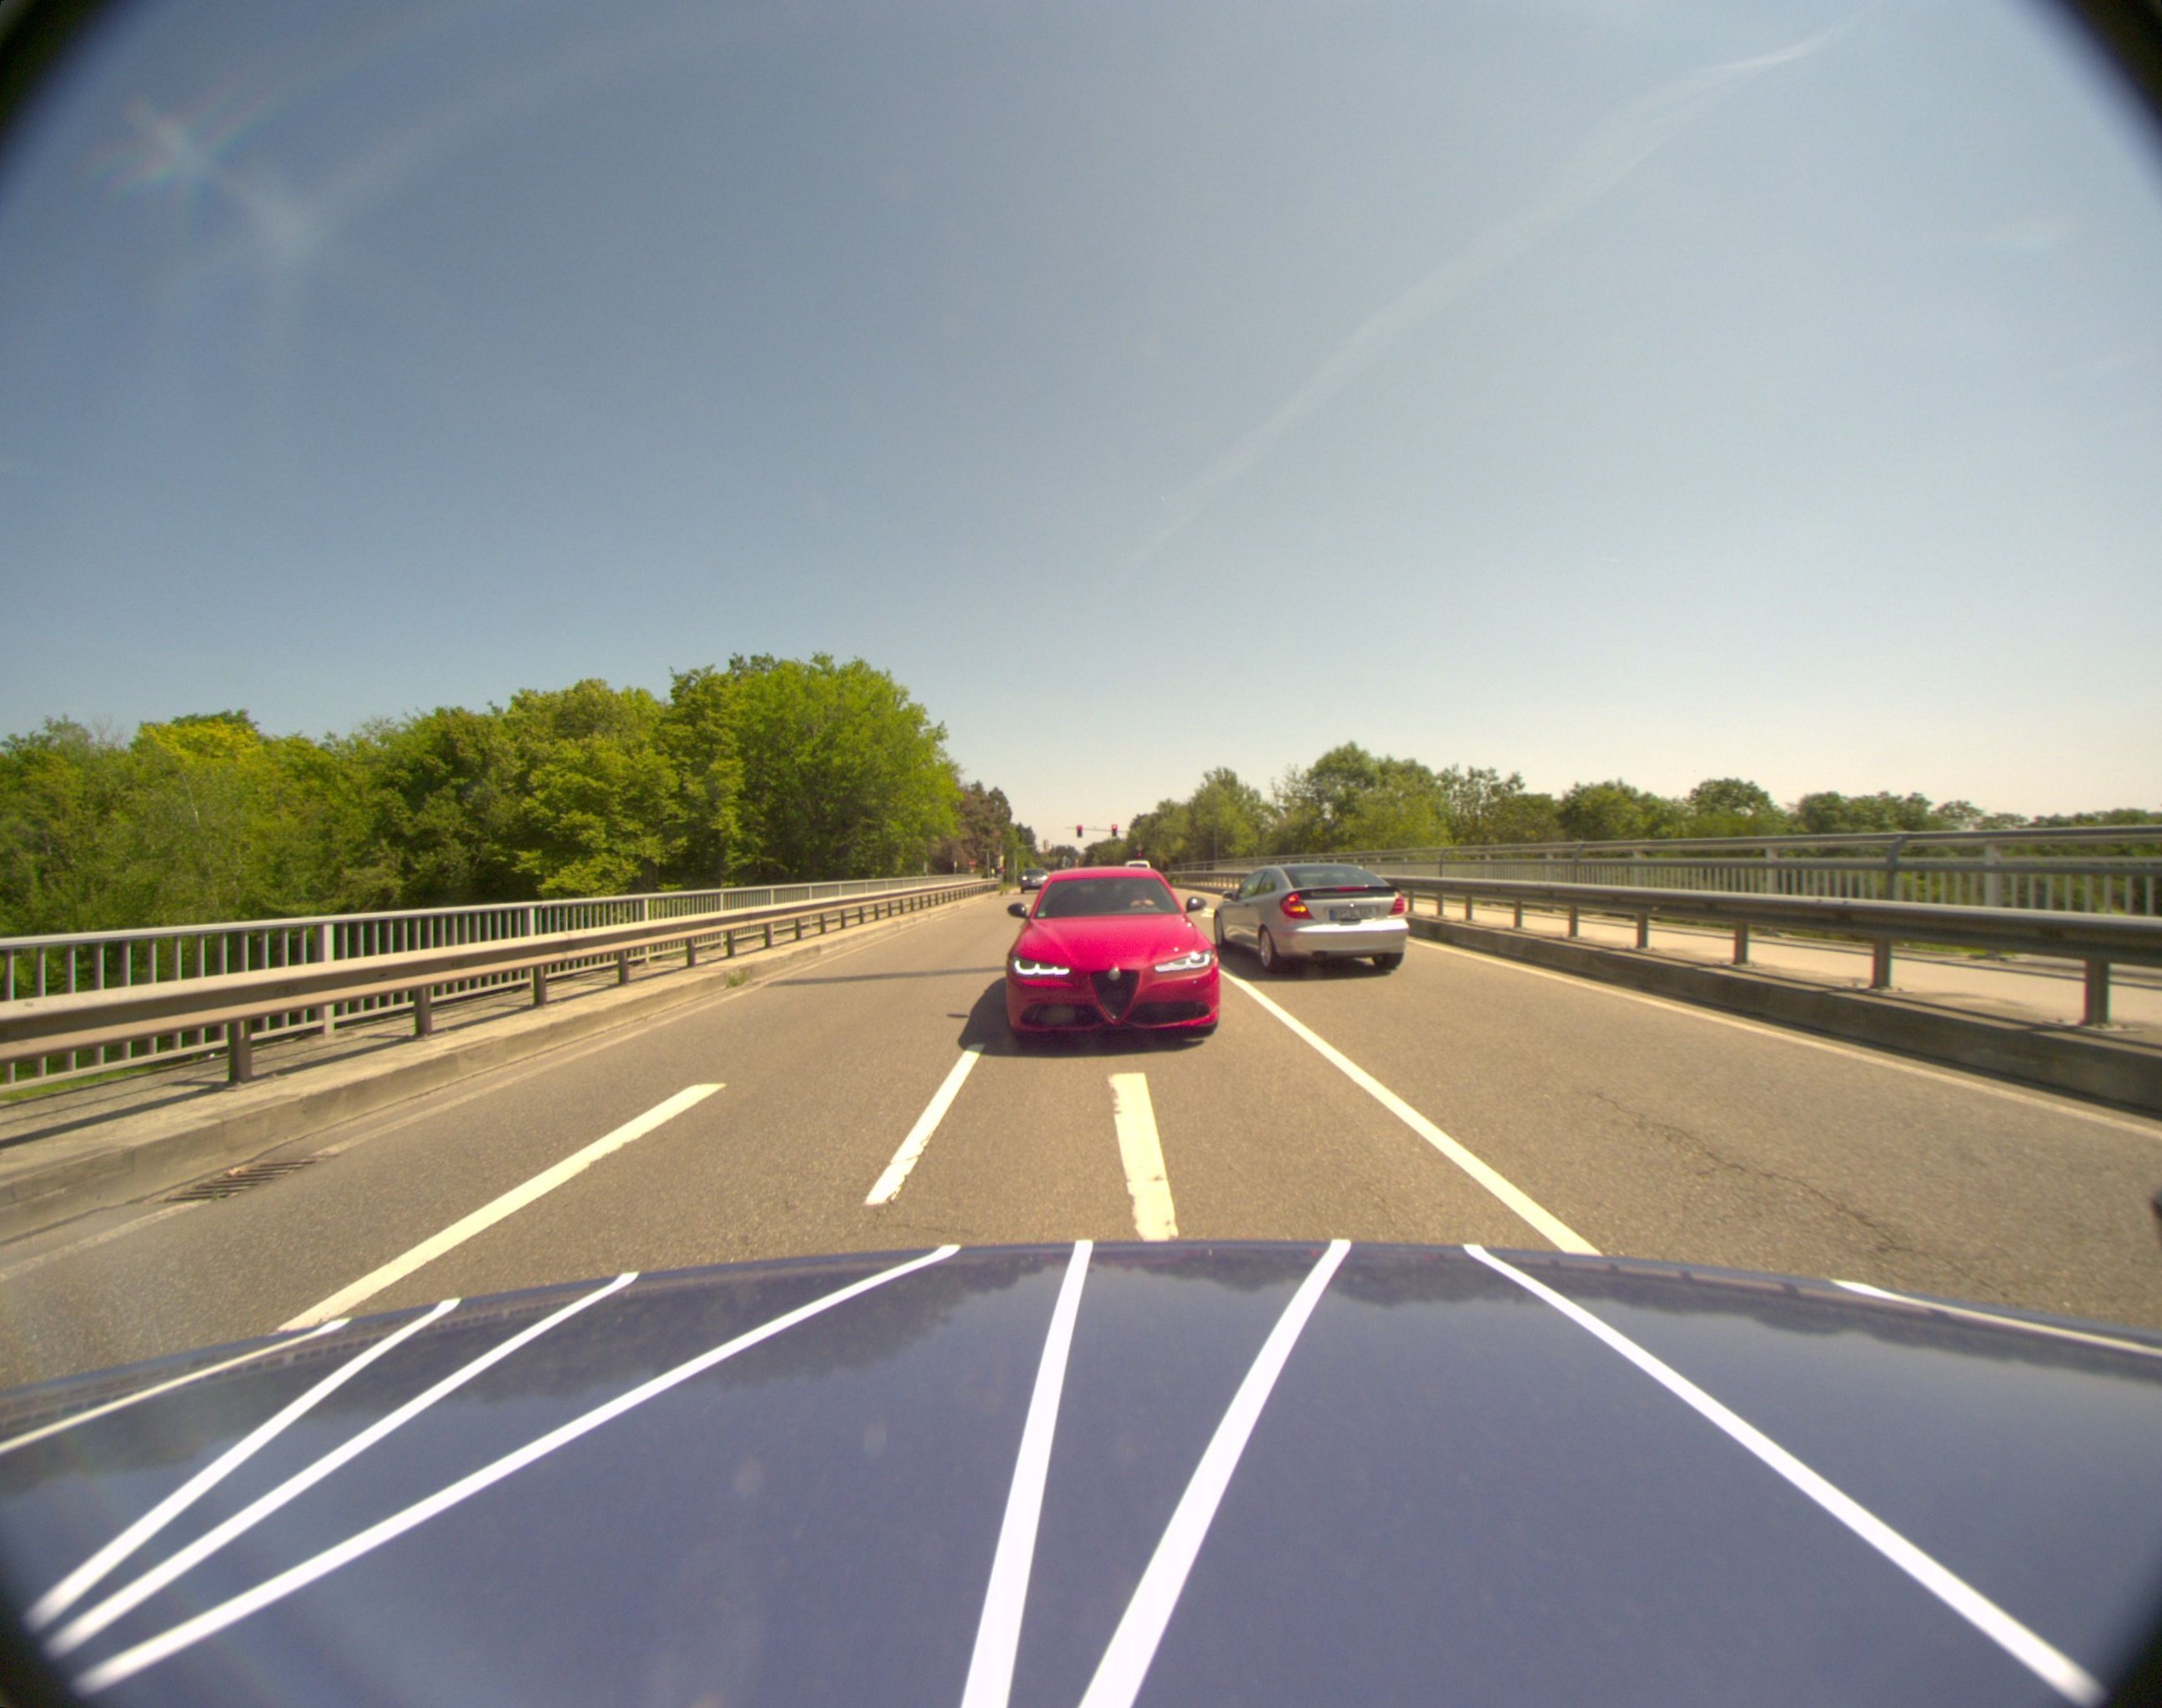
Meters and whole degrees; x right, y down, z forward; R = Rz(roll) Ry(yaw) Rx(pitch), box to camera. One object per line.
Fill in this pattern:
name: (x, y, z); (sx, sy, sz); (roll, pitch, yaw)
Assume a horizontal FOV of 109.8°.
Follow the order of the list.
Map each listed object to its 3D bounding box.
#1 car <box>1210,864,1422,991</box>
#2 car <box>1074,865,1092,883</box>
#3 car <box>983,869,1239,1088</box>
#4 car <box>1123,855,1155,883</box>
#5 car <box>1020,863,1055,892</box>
car: (3.072, 0.882, 10.804); (1.647, 1.373, 3.937); (-2, 0, -2)
car: (0.197, 1.993, 75.880); (1.633, 1.667, 3.490); (-2, 1, 0)
car: (0.248, 0.940, 7.614); (1.800, 1.448, 4.285); (-2, 0, 1)
car: (3.803, 0.967, 50.695); (1.848, 1.758, 4.000); (-2, 0, 1)
car: (-2.685, 1.452, 47.890); (1.848, 1.675, 4.000); (-2, 0, 1)
